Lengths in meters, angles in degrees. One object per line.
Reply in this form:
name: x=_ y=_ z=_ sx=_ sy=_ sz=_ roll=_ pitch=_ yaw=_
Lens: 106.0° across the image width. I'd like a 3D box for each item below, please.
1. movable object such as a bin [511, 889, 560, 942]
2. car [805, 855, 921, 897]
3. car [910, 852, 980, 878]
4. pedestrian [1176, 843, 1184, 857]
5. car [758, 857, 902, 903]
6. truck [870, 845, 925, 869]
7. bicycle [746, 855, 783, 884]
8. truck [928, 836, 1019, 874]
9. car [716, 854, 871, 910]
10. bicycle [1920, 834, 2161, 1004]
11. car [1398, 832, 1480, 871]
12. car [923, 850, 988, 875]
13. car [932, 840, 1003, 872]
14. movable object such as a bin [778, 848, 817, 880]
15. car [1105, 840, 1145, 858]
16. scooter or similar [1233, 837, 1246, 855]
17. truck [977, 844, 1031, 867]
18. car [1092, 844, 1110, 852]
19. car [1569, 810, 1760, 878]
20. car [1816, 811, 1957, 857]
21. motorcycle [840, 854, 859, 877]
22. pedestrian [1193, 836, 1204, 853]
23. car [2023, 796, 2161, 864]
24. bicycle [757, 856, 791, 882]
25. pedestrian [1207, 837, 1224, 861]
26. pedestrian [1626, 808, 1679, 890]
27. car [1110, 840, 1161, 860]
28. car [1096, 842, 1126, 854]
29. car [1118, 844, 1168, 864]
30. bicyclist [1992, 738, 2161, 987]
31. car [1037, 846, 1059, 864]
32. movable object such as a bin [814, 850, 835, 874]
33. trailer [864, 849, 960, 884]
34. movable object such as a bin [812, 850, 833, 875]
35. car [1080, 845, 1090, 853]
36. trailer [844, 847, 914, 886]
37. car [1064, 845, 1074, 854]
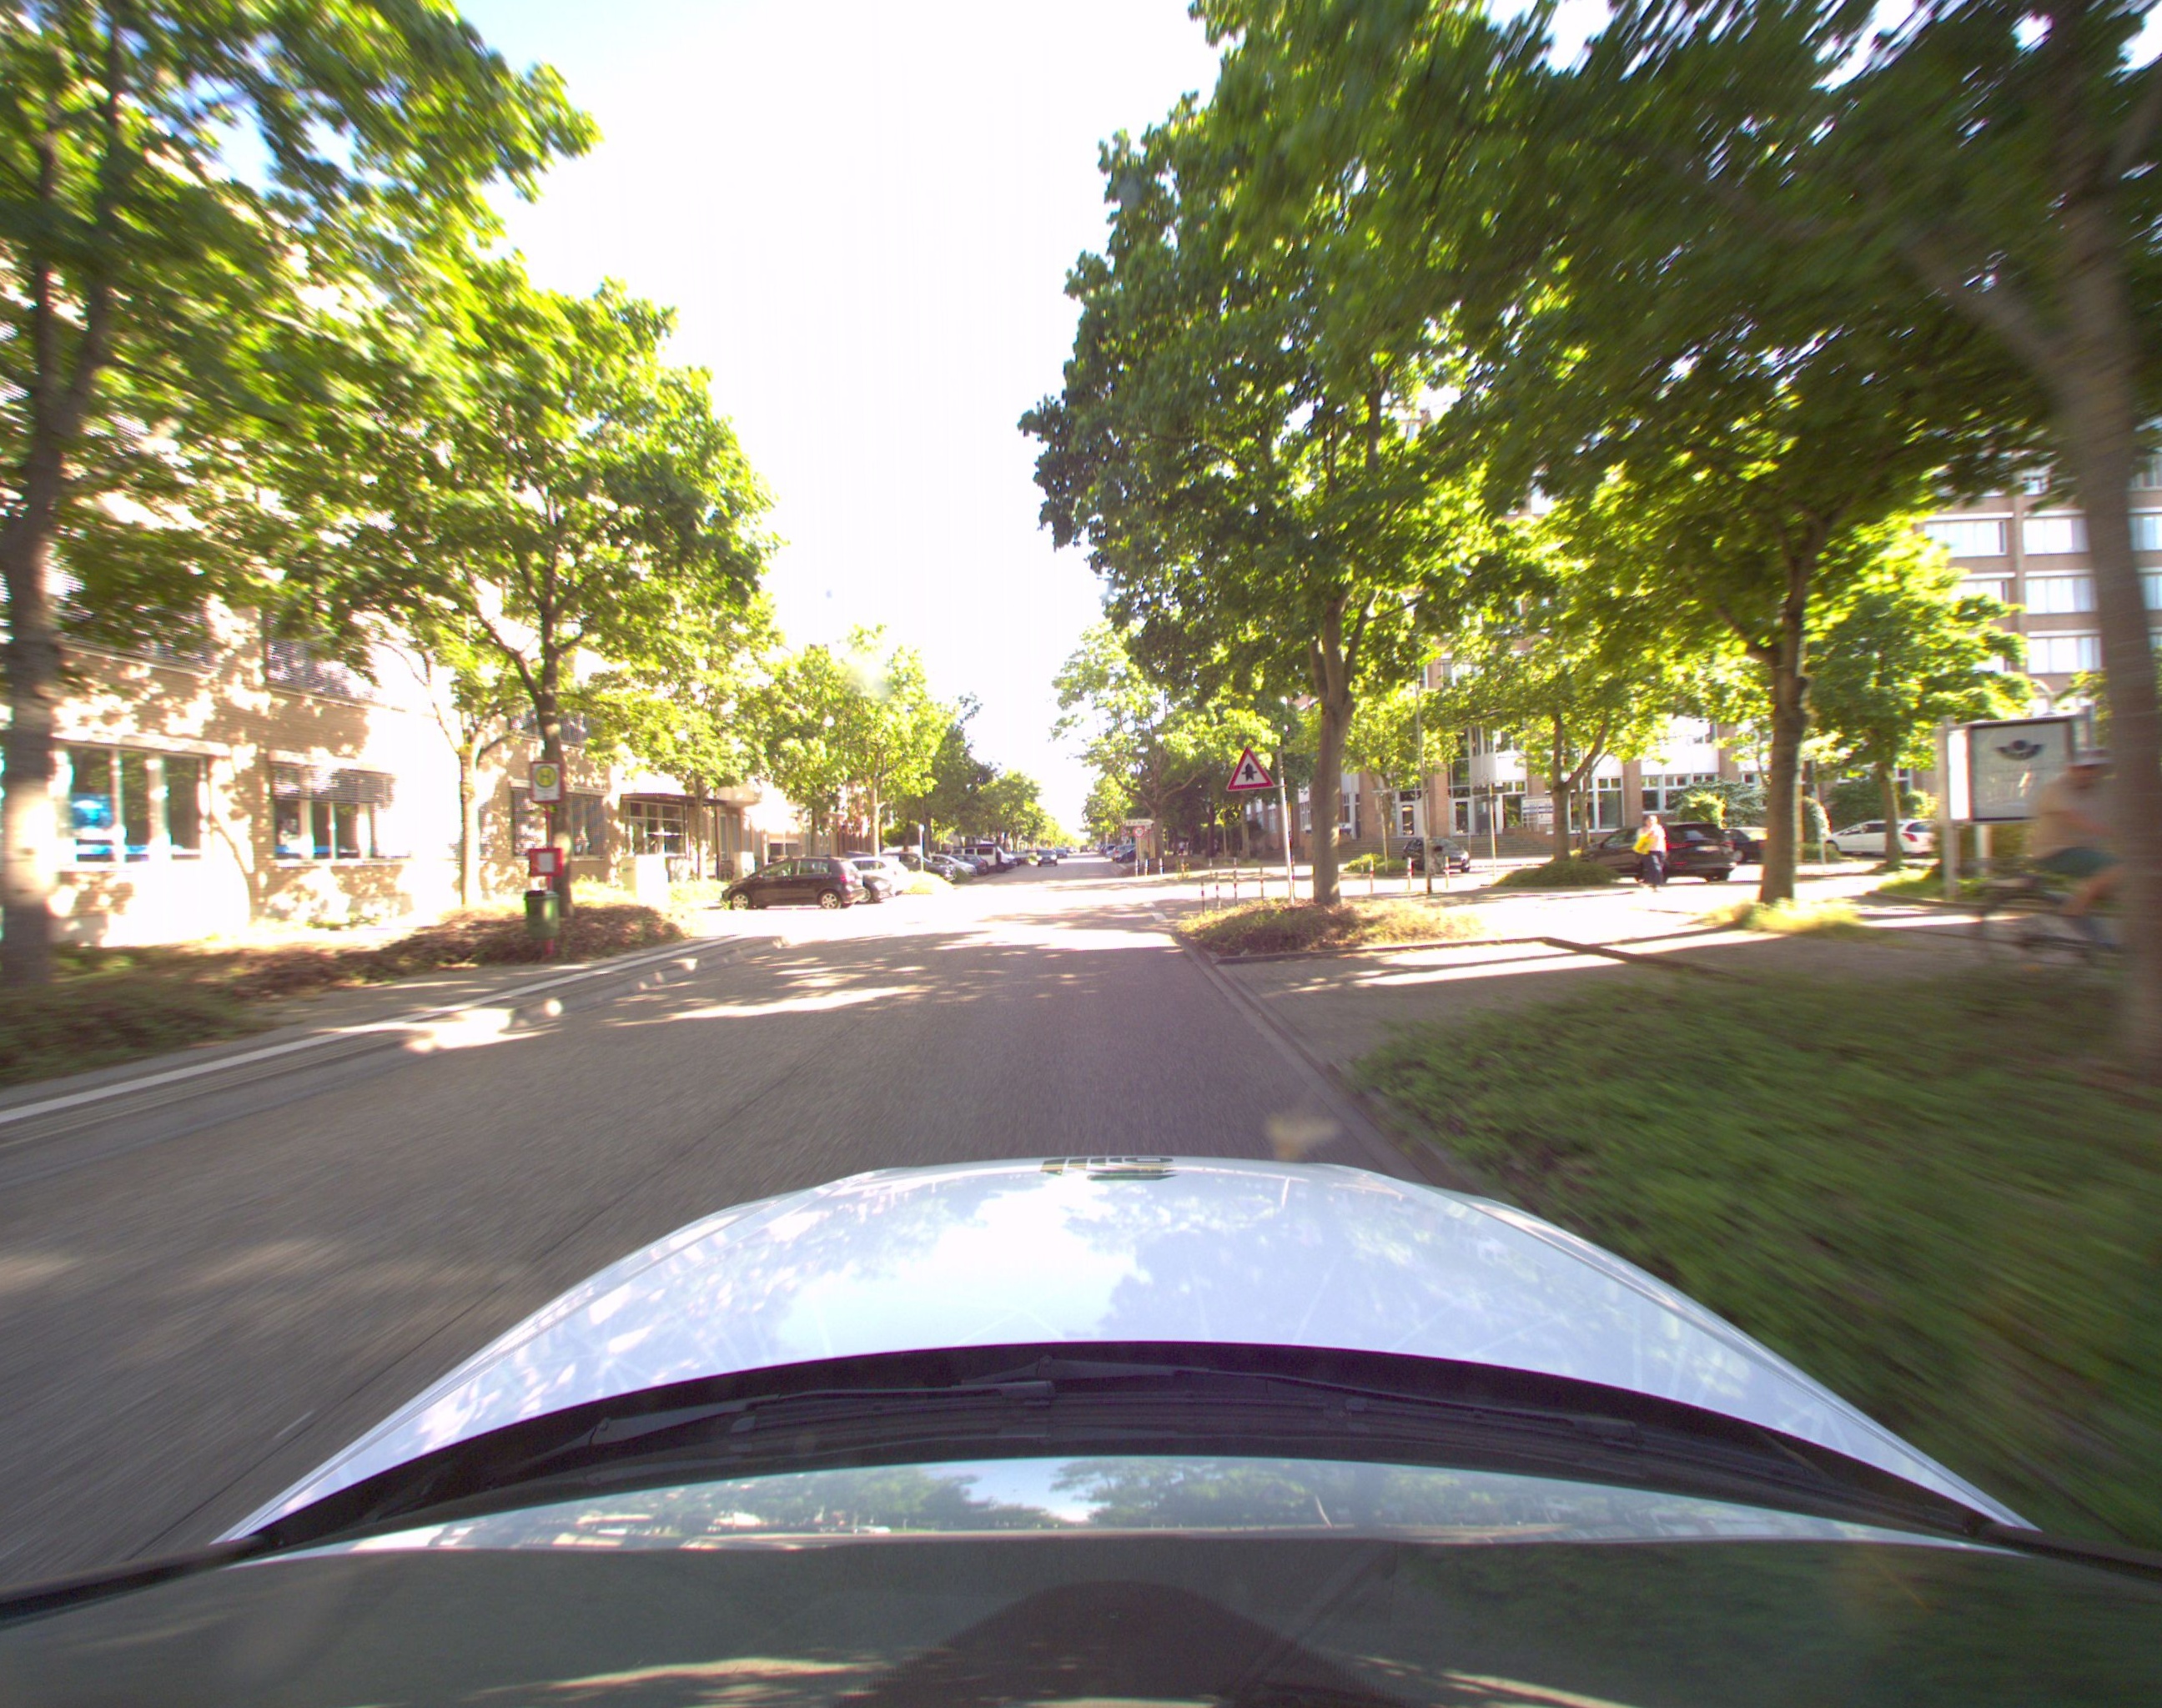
movable object such as a bin: x=-7.988 y=0.892 z=11.935 sx=0.440 sy=0.731 sz=0.408 roll=-1 pitch=0 yaw=0
car: x=-7.945 y=0.779 z=29.932 sx=3.743 sy=1.452 sz=1.754 roll=0 pitch=0 yaw=-1
car: x=-8.126 y=0.654 z=48.886 sx=3.818 sy=1.461 sz=1.734 roll=-1 pitch=0 yaw=3
pedestrian: x=10.616 y=-0.443 z=87.295 sx=0.698 sy=1.458 sz=0.715 roll=-3 pitch=1 yaw=-3
car: x=-8.208 y=0.841 z=26.900 sx=4.138 sy=1.402 sz=1.800 roll=0 pitch=0 yaw=-1
truck: x=-22.670 y=0.329 z=100.686 sx=6.088 sy=2.704 sz=2.576 roll=-3 pitch=0 yaw=-2
bicycle: x=-16.378 y=0.794 z=42.165 sx=1.731 sy=1.409 sz=0.610 roll=-1 pitch=0 yaw=-23
truck: x=-7.812 y=0.043 z=59.734 sx=6.211 sy=2.421 sz=2.187 roll=-3 pitch=0 yaw=0
car: x=-8.463 y=0.803 z=24.236 sx=3.975 sy=1.570 sz=1.728 roll=0 pitch=0 yaw=-1
bicycle: x=7.215 y=0.408 z=5.787 sx=0.532 sy=1.078 sz=1.920 roll=-2 pitch=1 yaw=1
car: x=14.609 y=-0.132 z=33.464 sx=1.647 sy=1.462 sz=3.917 roll=-2 pitch=1 yaw=0
car: x=-7.876 y=0.538 z=51.449 sx=3.764 sy=1.492 sz=1.833 roll=-1 pitch=1 yaw=1
car: x=-7.534 y=0.130 z=54.583 sx=4.470 sy=2.051 sz=1.999 roll=-1 pitch=0 yaw=-2
movable object such as a bin: x=-16.942 y=0.559 z=48.678 sx=1.593 sy=1.796 sz=1.665 roll=-2 pitch=1 yaw=2
car: x=4.997 y=-0.575 z=92.715 sx=4.392 sy=1.618 sz=1.911 roll=-5 pitch=1 yaw=-1
scooter or similar: x=12.252 y=-0.619 z=62.917 sx=0.548 sy=1.325 sz=1.803 roll=-1 pitch=0 yaw=-5
truck: x=-7.446 y=0.102 z=79.102 sx=4.967 sy=1.959 sz=2.139 roll=-3 pitch=0 yaw=1
car: x=4.751 y=-1.485 z=194.231 sx=3.980 sy=1.792 sz=1.997 roll=-2 pitch=0 yaw=-5
car: x=15.015 y=-0.179 z=21.306 sx=1.733 sy=1.566 sz=4.362 roll=-2 pitch=-2 yaw=-2
car: x=33.607 y=-0.864 z=34.148 sx=1.911 sy=1.723 sz=4.115 roll=-2 pitch=2 yaw=2
motorcycle: x=-16.664 y=0.803 z=58.715 sx=0.712 sy=1.591 sz=2.109 roll=-3 pitch=1 yaw=-1
pedestrian: x=12.419 y=-0.985 z=86.276 sx=0.696 sy=1.710 sz=0.917 roll=-6 pitch=1 yaw=-11
car: x=27.410 y=-0.615 z=21.044 sx=1.690 sy=1.585 sz=4.006 roll=-2 pitch=-2 yaw=6
bicycle: x=-16.977 y=0.818 z=44.976 sx=1.731 sy=1.409 sz=0.610 roll=-1 pitch=0 yaw=-23
pedestrian: x=9.945 y=-0.361 z=60.194 sx=0.919 sy=1.710 sz=0.695 roll=-6 pitch=1 yaw=-13
pedestrian: x=11.450 y=-0.105 z=16.336 sx=0.537 sy=1.582 sz=0.646 roll=-2 pitch=1 yaw=-9
car: x=4.914 y=-0.363 z=74.161 sx=4.347 sy=1.597 sz=1.935 roll=-3 pitch=0 yaw=-6
car: x=4.505 y=-0.900 z=122.823 sx=4.257 sy=1.633 sz=1.856 roll=-3 pitch=0 yaw=-3
car: x=5.068 y=-0.032 z=66.923 sx=3.924 sy=1.439 sz=1.773 roll=-3 pitch=0 yaw=-2
bicyclist: x=7.207 y=0.044 z=5.775 sx=0.535 sy=1.636 sz=0.823 roll=-2 pitch=0 yaw=1
car: x=-2.948 y=0.052 z=73.761 sx=1.773 sy=1.511 sz=4.000 roll=-2 pitch=0 yaw=0
movable object such as a bin: x=-17.267 y=0.546 z=54.912 sx=1.146 sy=1.562 sz=1.239 roll=-3 pitch=1 yaw=-12
trailer: x=-8.101 y=0.568 z=39.372 sx=4.251 sy=1.572 sz=1.854 roll=-1 pitch=0 yaw=-4
movable object such as a bin: x=-17.019 y=0.543 z=53.623 sx=1.146 sy=1.619 sz=1.436 roll=-3 pitch=1 yaw=-12
car: x=0.890 y=-1.101 z=174.620 sx=1.927 sy=1.597 sz=4.366 roll=-3 pitch=1 yaw=0
trailer: x=-9.149 y=0.533 z=37.044 sx=2.716 sy=1.687 sz=1.712 roll=-1 pitch=1 yaw=0
car: x=-2.478 y=-0.942 z=165.935 sx=1.887 sy=1.684 sz=4.350 roll=-3 pitch=1 yaw=-2
